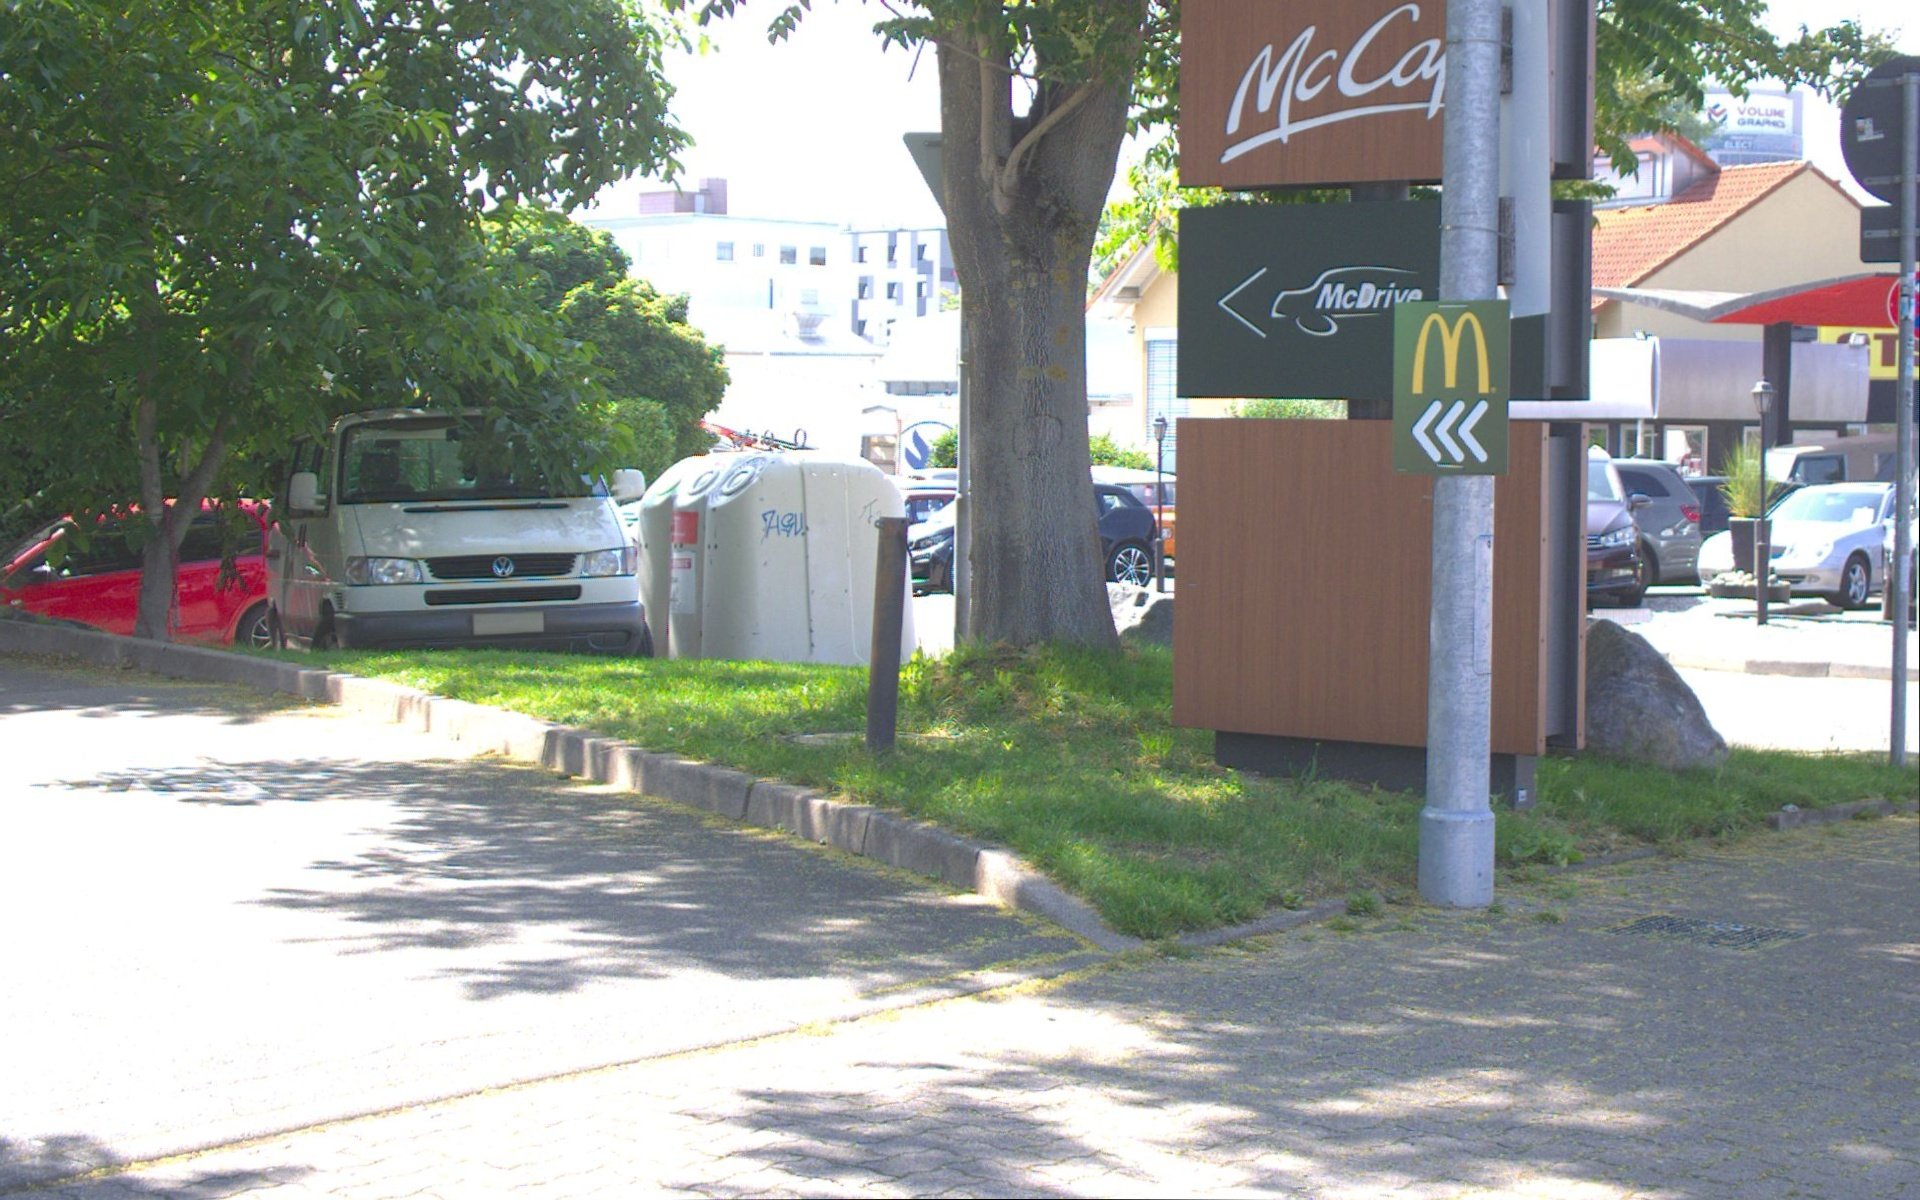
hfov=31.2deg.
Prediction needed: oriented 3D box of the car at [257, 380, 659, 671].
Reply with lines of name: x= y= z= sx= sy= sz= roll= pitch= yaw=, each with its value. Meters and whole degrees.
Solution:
car: x=-3.328 y=-0.563 z=21.916 sx=1.951 sy=1.577 sz=5.034 roll=1 pitch=3 yaw=-15

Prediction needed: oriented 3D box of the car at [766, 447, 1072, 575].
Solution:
car: x=-0.590 y=-1.297 z=50.463 sx=3.987 sy=1.719 sz=2.000 roll=1 pitch=2 yaw=-33

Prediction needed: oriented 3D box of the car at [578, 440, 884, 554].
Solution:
car: x=-3.794 y=-1.700 z=57.143 sx=4.639 sy=1.719 sz=2.000 roll=1 pitch=2 yaw=-33

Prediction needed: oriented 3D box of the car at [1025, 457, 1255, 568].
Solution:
car: x=2.806 y=-1.409 z=54.511 sx=1.993 sy=1.579 sz=4.002 roll=1 pitch=3 yaw=-24

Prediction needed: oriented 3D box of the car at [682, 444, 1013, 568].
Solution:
car: x=-1.699 y=-1.426 z=52.505 sx=4.639 sy=1.719 sz=2.000 roll=1 pitch=2 yaw=-33

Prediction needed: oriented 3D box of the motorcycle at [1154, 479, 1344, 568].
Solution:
motorcycle: x=4.287 y=-1.128 z=50.882 sx=2.710 sy=1.222 sz=0.999 roll=0 pitch=3 yaw=-33

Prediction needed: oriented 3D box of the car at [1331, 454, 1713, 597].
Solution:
car: x=6.938 y=-0.949 z=42.757 sx=4.320 sy=1.579 sz=2.000 roll=2 pitch=2 yaw=-2

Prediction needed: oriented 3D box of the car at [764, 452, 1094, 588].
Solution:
car: x=-0.427 y=-1.102 z=47.128 sx=3.986 sy=1.700 sz=2.001 roll=1 pitch=3 yaw=-26

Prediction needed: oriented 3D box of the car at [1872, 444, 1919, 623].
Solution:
car: x=9.866 y=-0.629 z=32.669 sx=2.048 sy=1.589 sz=4.421 roll=3 pitch=2 yaw=12

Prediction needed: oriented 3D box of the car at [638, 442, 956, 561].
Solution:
car: x=-2.591 y=-1.566 z=55.038 sx=4.639 sy=1.719 sz=2.000 roll=1 pitch=2 yaw=-33

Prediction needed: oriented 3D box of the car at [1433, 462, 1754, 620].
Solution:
car: x=6.675 y=-0.629 z=35.946 sx=1.792 sy=1.504 sz=3.992 roll=4 pitch=3 yaw=34

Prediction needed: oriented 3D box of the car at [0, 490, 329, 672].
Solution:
car: x=-7.098 y=-0.183 z=28.520 sx=3.403 sy=1.373 sz=1.487 roll=-1 pitch=5 yaw=-24

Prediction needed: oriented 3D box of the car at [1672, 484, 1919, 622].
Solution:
car: x=10.246 y=-0.559 z=40.426 sx=1.793 sy=1.482 sz=3.990 roll=4 pitch=3 yaw=43

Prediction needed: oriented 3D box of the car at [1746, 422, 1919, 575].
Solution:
car: x=13.009 y=-1.430 z=48.705 sx=1.998 sy=2.006 sz=4.487 roll=4 pitch=3 yaw=35
